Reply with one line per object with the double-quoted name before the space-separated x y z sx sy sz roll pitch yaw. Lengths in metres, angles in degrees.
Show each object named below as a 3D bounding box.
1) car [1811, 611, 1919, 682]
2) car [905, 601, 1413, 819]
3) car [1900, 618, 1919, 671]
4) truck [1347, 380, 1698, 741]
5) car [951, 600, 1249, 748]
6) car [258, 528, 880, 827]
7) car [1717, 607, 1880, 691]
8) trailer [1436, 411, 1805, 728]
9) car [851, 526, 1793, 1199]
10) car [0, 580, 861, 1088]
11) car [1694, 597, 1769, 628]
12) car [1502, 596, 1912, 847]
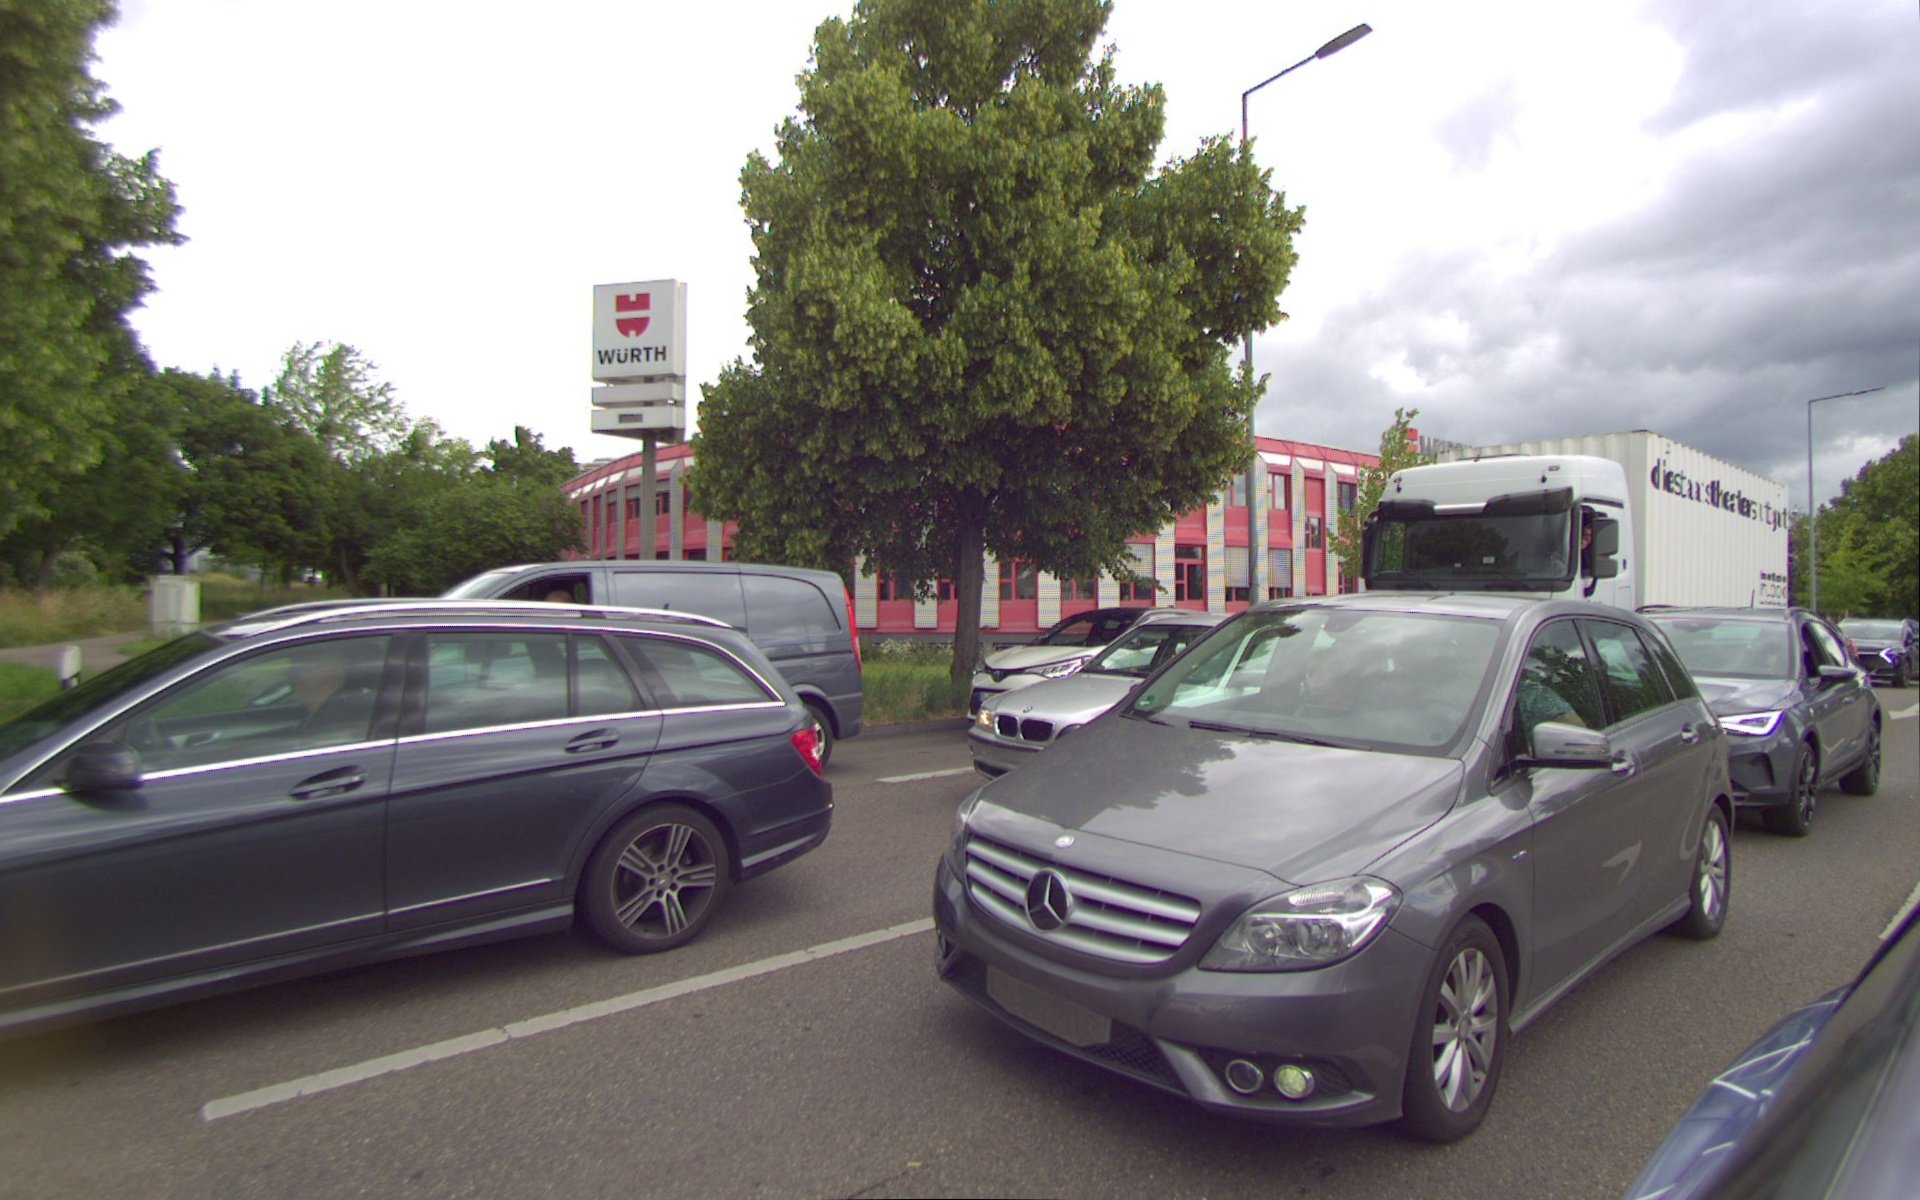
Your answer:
"car" 22.831 1.088 24.870 4.319 1.581 1.851 1 -1 -34
"car" 1.738 0.712 8.324 4.039 1.371 1.818 1 0 -35
"car" 28.380 1.285 28.768 4.405 1.466 1.676 2 -1 -37
"truck" 7.171 -0.382 12.802 4.032 3.753 2.576 2 -1 -39
"car" 1.794 0.778 12.316 3.619 1.515 1.644 1 0 -42
"car" -2.991 0.478 8.312 4.425 1.826 1.829 1 0 -40
"car" 17.467 0.964 21.027 4.239 1.543 1.712 1 -1 -37
"trailer" 10.332 -0.303 15.420 7.624 3.753 2.571 1 -1 -40
"car" 1.764 0.637 4.201 4.111 1.543 1.803 1 -1 -39
"car" -2.642 0.671 4.177 4.137 1.453 1.829 1 0 -40
"car" 52.823 0.858 69.359 1.610 1.984 3.769 4 -3 -31
"car" 6.053 0.752 8.039 3.928 1.505 1.702 1 0 -39
